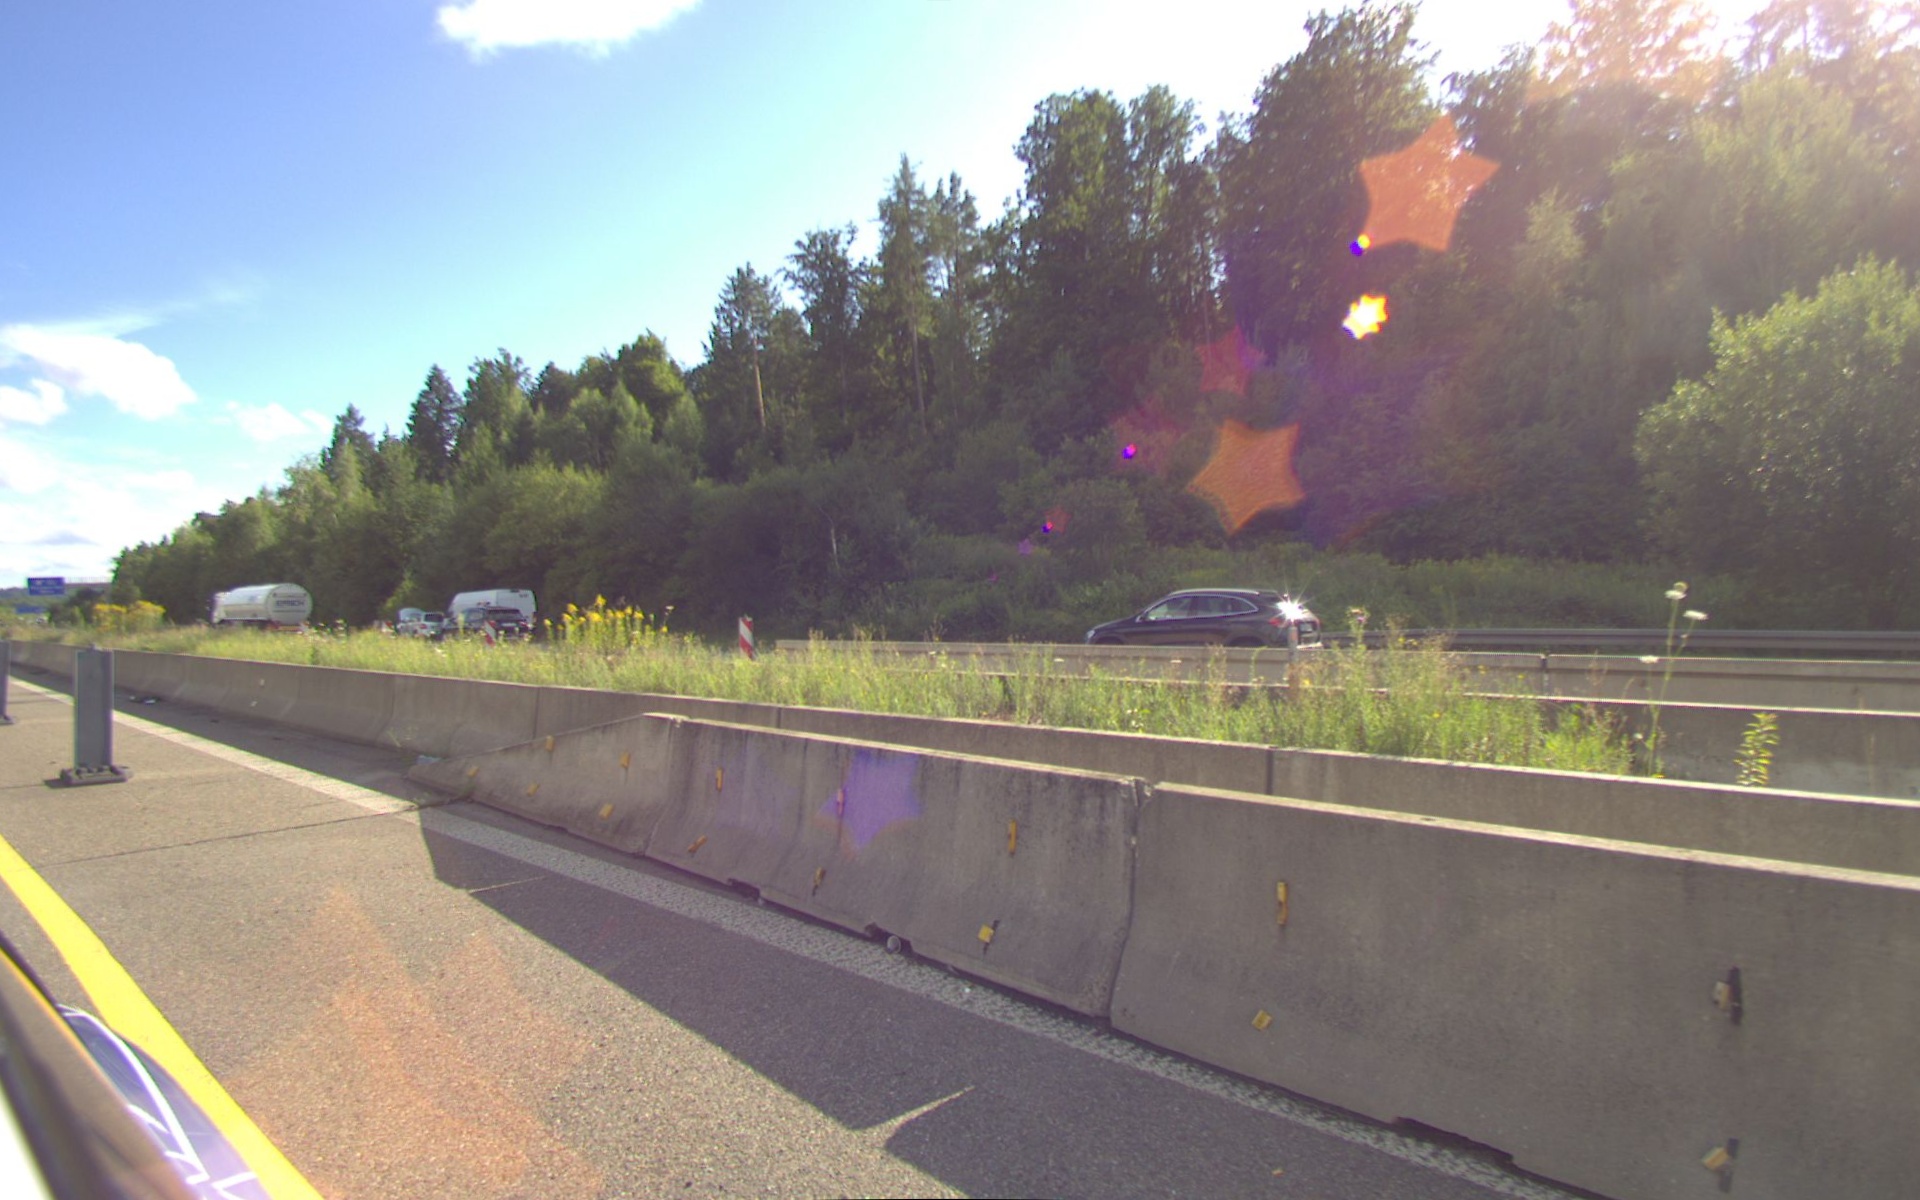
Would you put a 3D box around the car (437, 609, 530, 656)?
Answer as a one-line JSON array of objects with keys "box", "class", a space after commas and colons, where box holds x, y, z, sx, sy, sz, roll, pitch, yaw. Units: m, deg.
[{"box": [-17.789, 1.172, 37.707, 4.017, 1.614, 1.759, -1, 0, 43], "class": "car"}]

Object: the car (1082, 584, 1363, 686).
[{"box": [4.597, 0.568, 18.112, 4.480, 1.600, 1.938, -1, 0, 41], "class": "car"}]

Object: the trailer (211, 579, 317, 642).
[{"box": [-41.838, 0.650, 60.599, 11.111, 3.516, 2.772, -1, 0, 42], "class": "trailer"}]

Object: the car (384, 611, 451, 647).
[{"box": [-30.163, 1.600, 56.237, 4.761, 1.867, 1.840, -1, 0, 43], "class": "car"}]

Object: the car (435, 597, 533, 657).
[{"box": [-23.062, 1.254, 48.871, 6.522, 2.705, 2.006, -1, 0, 43], "class": "car"}]

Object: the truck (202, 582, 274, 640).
[{"box": [-45.966, 0.696, 64.402, 4.939, 3.516, 2.755, -1, 0, 43], "class": "truck"}]
